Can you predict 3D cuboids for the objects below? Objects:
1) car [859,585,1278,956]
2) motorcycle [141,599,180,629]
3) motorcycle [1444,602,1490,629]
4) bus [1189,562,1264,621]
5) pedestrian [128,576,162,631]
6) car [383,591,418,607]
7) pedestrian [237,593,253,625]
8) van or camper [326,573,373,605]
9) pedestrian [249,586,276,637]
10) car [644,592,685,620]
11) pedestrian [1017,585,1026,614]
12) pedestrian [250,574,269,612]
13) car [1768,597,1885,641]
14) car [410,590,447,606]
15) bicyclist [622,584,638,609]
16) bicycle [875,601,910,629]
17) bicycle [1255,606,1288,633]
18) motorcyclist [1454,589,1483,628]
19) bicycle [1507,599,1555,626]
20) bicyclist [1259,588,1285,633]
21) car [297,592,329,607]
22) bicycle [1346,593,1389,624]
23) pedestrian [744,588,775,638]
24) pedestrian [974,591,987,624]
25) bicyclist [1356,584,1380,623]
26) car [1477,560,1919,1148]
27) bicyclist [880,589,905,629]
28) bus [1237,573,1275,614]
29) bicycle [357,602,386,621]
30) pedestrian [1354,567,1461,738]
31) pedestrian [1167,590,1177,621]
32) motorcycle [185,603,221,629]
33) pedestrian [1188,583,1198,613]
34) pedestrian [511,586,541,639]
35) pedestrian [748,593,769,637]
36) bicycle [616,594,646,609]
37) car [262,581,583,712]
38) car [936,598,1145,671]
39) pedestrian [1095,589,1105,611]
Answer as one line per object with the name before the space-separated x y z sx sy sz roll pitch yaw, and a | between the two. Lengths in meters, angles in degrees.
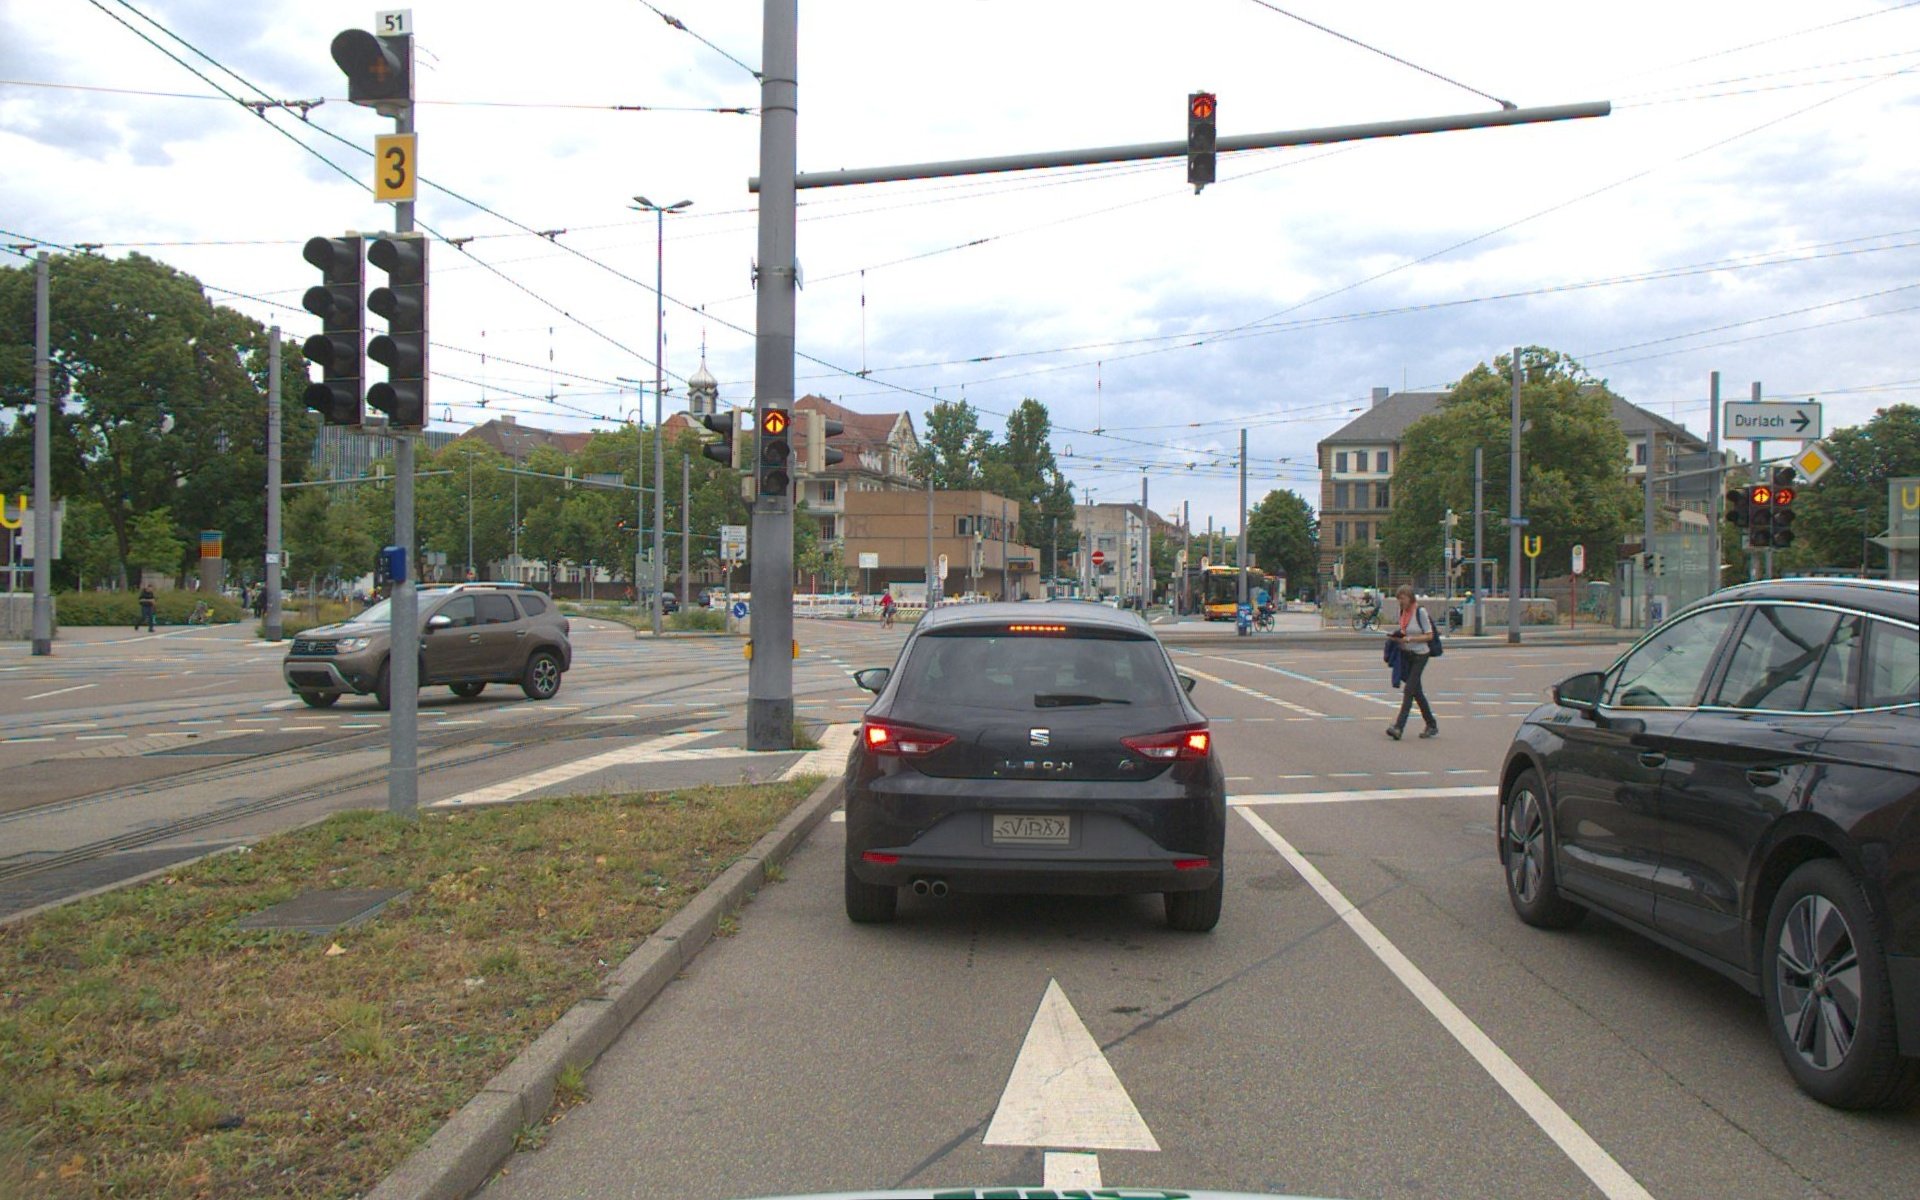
car | 0.367 0.675 8.516 1.670 1.474 3.810 1 0 -2
motorcycle | -34.919 0.599 72.250 1.461 1.290 0.503 0 0 -45
motorcycle | 22.022 0.654 71.805 2.113 1.159 0.736 0 0 -32
bus | 15.531 -0.473 95.731 2.898 3.178 11.546 0 0 16
pedestrian | -30.649 0.127 62.217 1.005 2.049 0.842 0 0 -18
car | -55.647 -0.100 164.484 1.768 1.489 3.936 0 1 -44
pedestrian | -45.951 0.594 106.303 0.864 2.016 0.792 0 -1 -17
van or camper | -62.337 -1.113 168.754 5.408 3.179 2.380 0 0 44
pedestrian | -28.259 0.465 67.010 0.914 2.049 1.006 0 -1 -18
car | -19.183 0.411 107.306 1.964 1.713 3.977 0 -1 -20
pedestrian | 4.124 -0.056 111.010 0.608 1.951 0.711 0 0 5
pedestrian | -37.877 -0.374 89.459 0.786 2.016 0.871 1 -2 -33
car | 29.984 0.660 57.216 3.944 1.490 1.757 1 -1 -30
car | -51.254 -0.194 159.476 1.768 1.489 3.935 0 1 -44
bicyclist | -27.814 -0.302 139.438 0.920 2.049 0.976 0 0 30
bicycle | -3.000 0.656 73.197 0.878 1.199 2.289 1 0 -20
bicycle | 13.201 0.818 70.132 0.848 1.124 2.300 1 0 -3
motorcyclist | 22.080 0.376 71.823 0.967 1.678 0.742 0 -1 -31
bicycle | 29.023 0.638 84.137 2.213 1.354 0.707 0 -1 9
bicyclist | 13.198 0.424 70.051 0.854 1.884 1.047 0 0 -4
car | -68.192 -0.096 174.371 1.768 1.489 3.936 0 1 -44
bicycle | 17.603 0.354 71.502 1.701 1.345 0.643 0 0 -14
pedestrian | -7.870 0.496 64.944 0.688 1.968 1.025 0 0 40
pedestrian | 1.266 0.459 100.037 0.693 1.951 0.624 0 0 9
bicyclist | 17.638 0.157 71.513 0.839 1.702 0.652 0 0 -14
car | 3.532 0.703 6.258 1.741 1.625 4.509 1 0 0
bicyclist | -3.007 0.412 73.185 0.870 1.762 0.889 1 0 -20
bus | 24.907 -0.556 138.710 2.597 3.340 11.004 0 0 13
bicycle | -40.202 0.789 112.985 0.427 1.258 1.815 -1 -2 44
pedestrian | 5.253 0.600 19.412 1.094 1.940 0.725 1 -1 -41
pedestrian | 13.657 0.359 106.413 0.608 1.951 0.699 0 0 11
motorcycle | -33.922 0.708 74.151 0.499 1.130 1.746 0 0 14
pedestrian | 15.021 -0.130 106.777 0.608 1.951 0.699 0 0 11
pedestrian | -16.349 0.468 62.283 1.014 1.968 0.696 0 0 -24
pedestrian | -7.337 0.550 60.212 0.714 1.569 0.416 0 0 -11
bicycle | -27.726 0.124 139.470 0.922 1.199 2.724 0 0 30
car | -7.466 0.591 23.390 1.764 1.668 4.221 0 0 30
car | 1.723 0.678 34.652 4.345 1.420 1.677 0 0 -37
pedestrian | 12.494 0.026 147.676 0.609 1.952 0.709 -1 -1 27
